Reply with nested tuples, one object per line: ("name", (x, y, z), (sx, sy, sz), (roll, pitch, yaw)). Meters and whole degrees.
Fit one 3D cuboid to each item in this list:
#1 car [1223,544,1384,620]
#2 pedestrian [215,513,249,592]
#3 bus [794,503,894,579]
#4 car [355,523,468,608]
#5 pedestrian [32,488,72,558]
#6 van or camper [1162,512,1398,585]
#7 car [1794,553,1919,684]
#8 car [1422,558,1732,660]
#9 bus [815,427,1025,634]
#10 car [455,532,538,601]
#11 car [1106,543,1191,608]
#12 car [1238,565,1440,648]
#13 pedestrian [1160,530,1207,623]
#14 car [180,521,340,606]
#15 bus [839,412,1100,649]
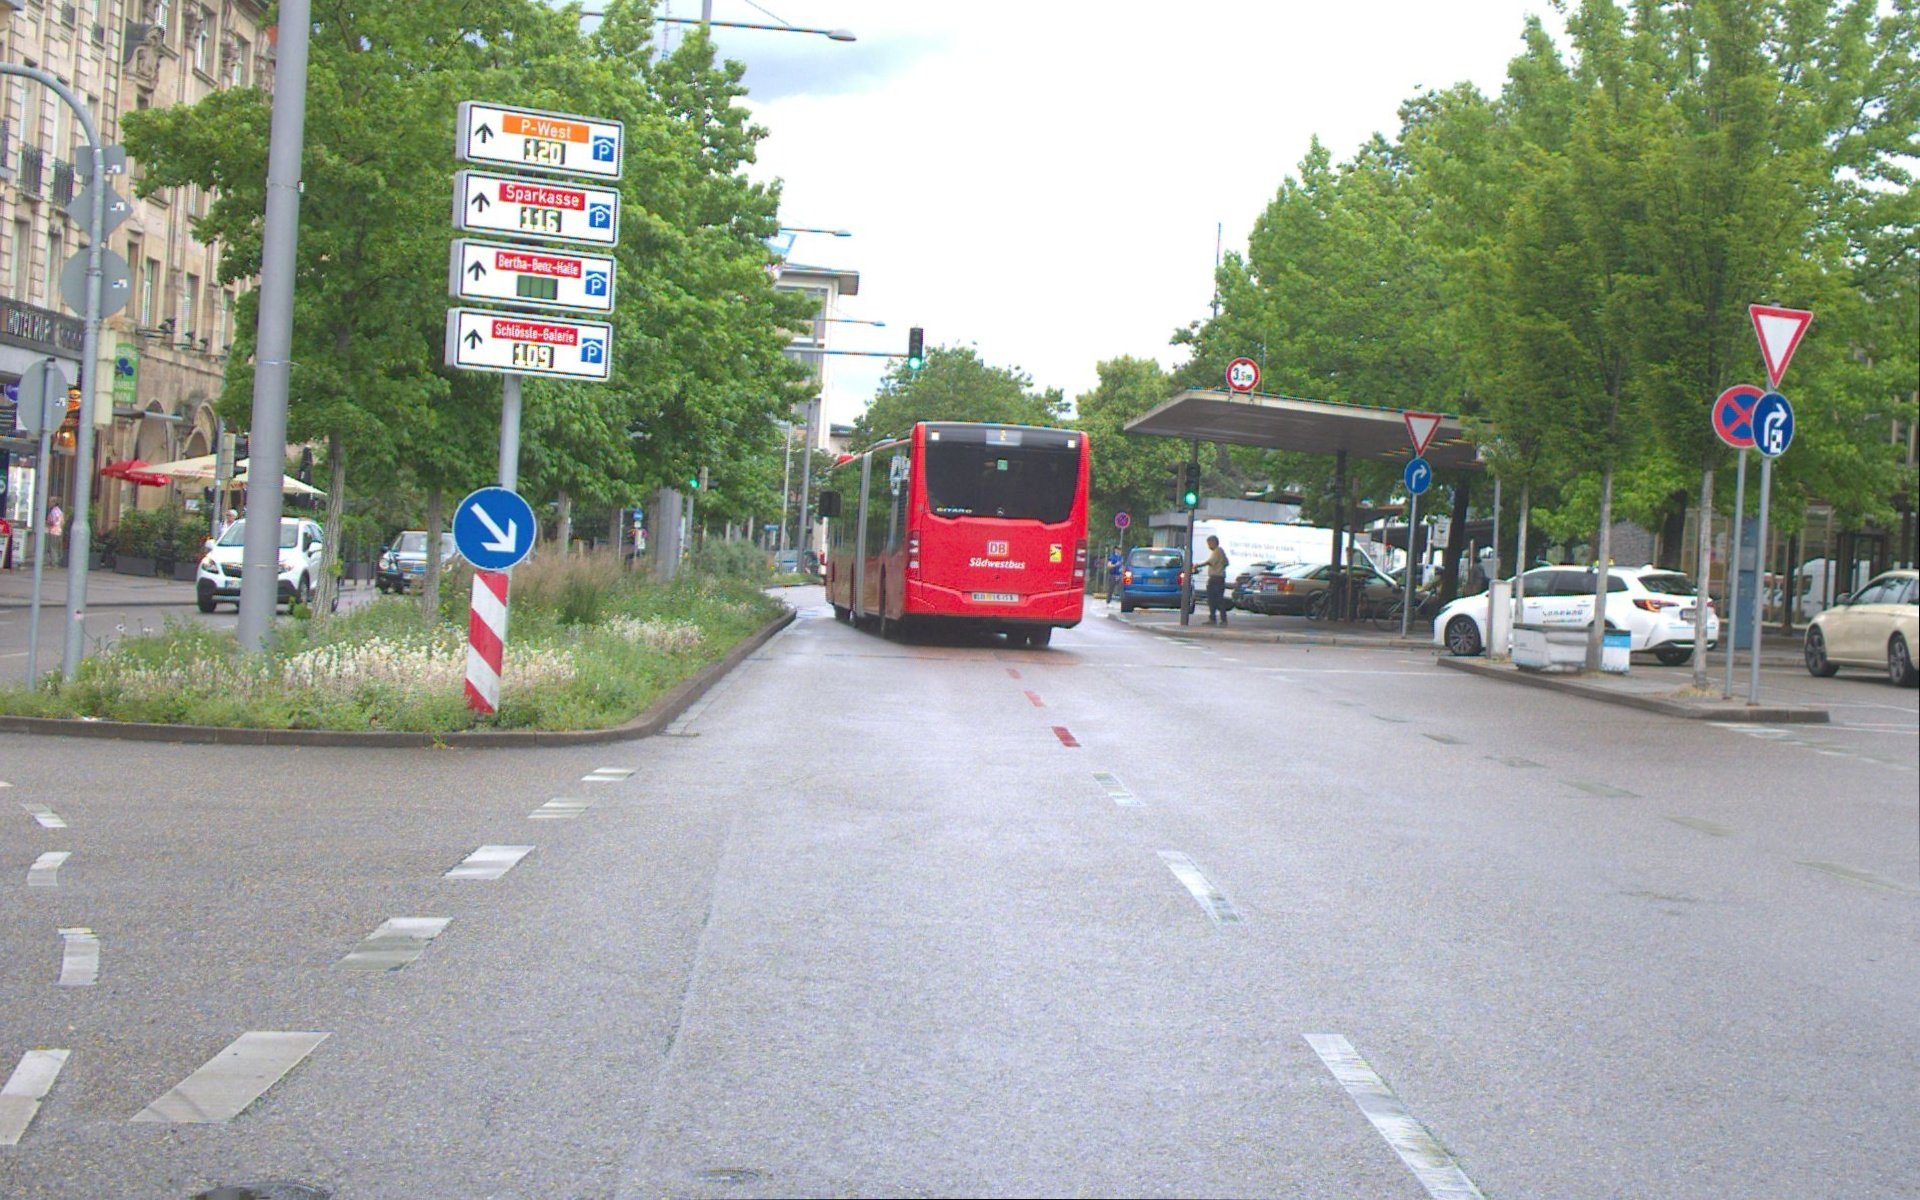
("car", (9.646, -0.502, 96.651), (3.986, 2.007, 2.001), (1, 1, -20))
("pedestrian", (-15.955, -1.042, 75.375), (0.575, 1.726, 0.609), (2, 1, -1))
("bus", (-5.394, -2.685, 156.602), (3.760, 3.198, 15.529), (1, 1, -5))
("car", (-12.041, -0.771, 75.693), (1.993, 1.752, 4.001), (1, 1, -3))
("pedestrian", (-19.706, -1.664, 74.607), (0.661, 1.505, 0.519), (1, 1, -38))
("van or camper", (9.600, -1.524, 102.831), (6.753, 2.007, 2.385), (1, 0, -26))
("car", (12.618, 0.229, 44.301), (1.993, 1.594, 4.824), (1, 1, -7))
("car", (9.111, 0.106, 51.068), (1.774, 1.380, 4.366), (0, 1, -41))
("bus", (-0.828, -1.169, 58.493), (2.742, 3.163, 10.197), (1, 1, -5))
("car", (-12.548, -0.912, 93.264), (1.993, 1.785, 4.001), (1, 1, -5))
("car", (4.660, -0.627, 85.400), (1.816, 1.525, 4.000), (1, 1, -1))
("car", (9.063, 0.149, 82.281), (4.335, 1.851, 2.001), (1, 1, -20))
("pedestrian", (4.331, -0.461, 66.703), (0.717, 1.785, 0.666), (1, 1, -12))
("car", (-11.935, -0.629, 58.863), (1.755, 1.364, 4.060), (2, 1, 2))
("bus", (-0.010, -1.018, 50.946), (2.742, 3.163, 8.122), (1, 1, -7))
